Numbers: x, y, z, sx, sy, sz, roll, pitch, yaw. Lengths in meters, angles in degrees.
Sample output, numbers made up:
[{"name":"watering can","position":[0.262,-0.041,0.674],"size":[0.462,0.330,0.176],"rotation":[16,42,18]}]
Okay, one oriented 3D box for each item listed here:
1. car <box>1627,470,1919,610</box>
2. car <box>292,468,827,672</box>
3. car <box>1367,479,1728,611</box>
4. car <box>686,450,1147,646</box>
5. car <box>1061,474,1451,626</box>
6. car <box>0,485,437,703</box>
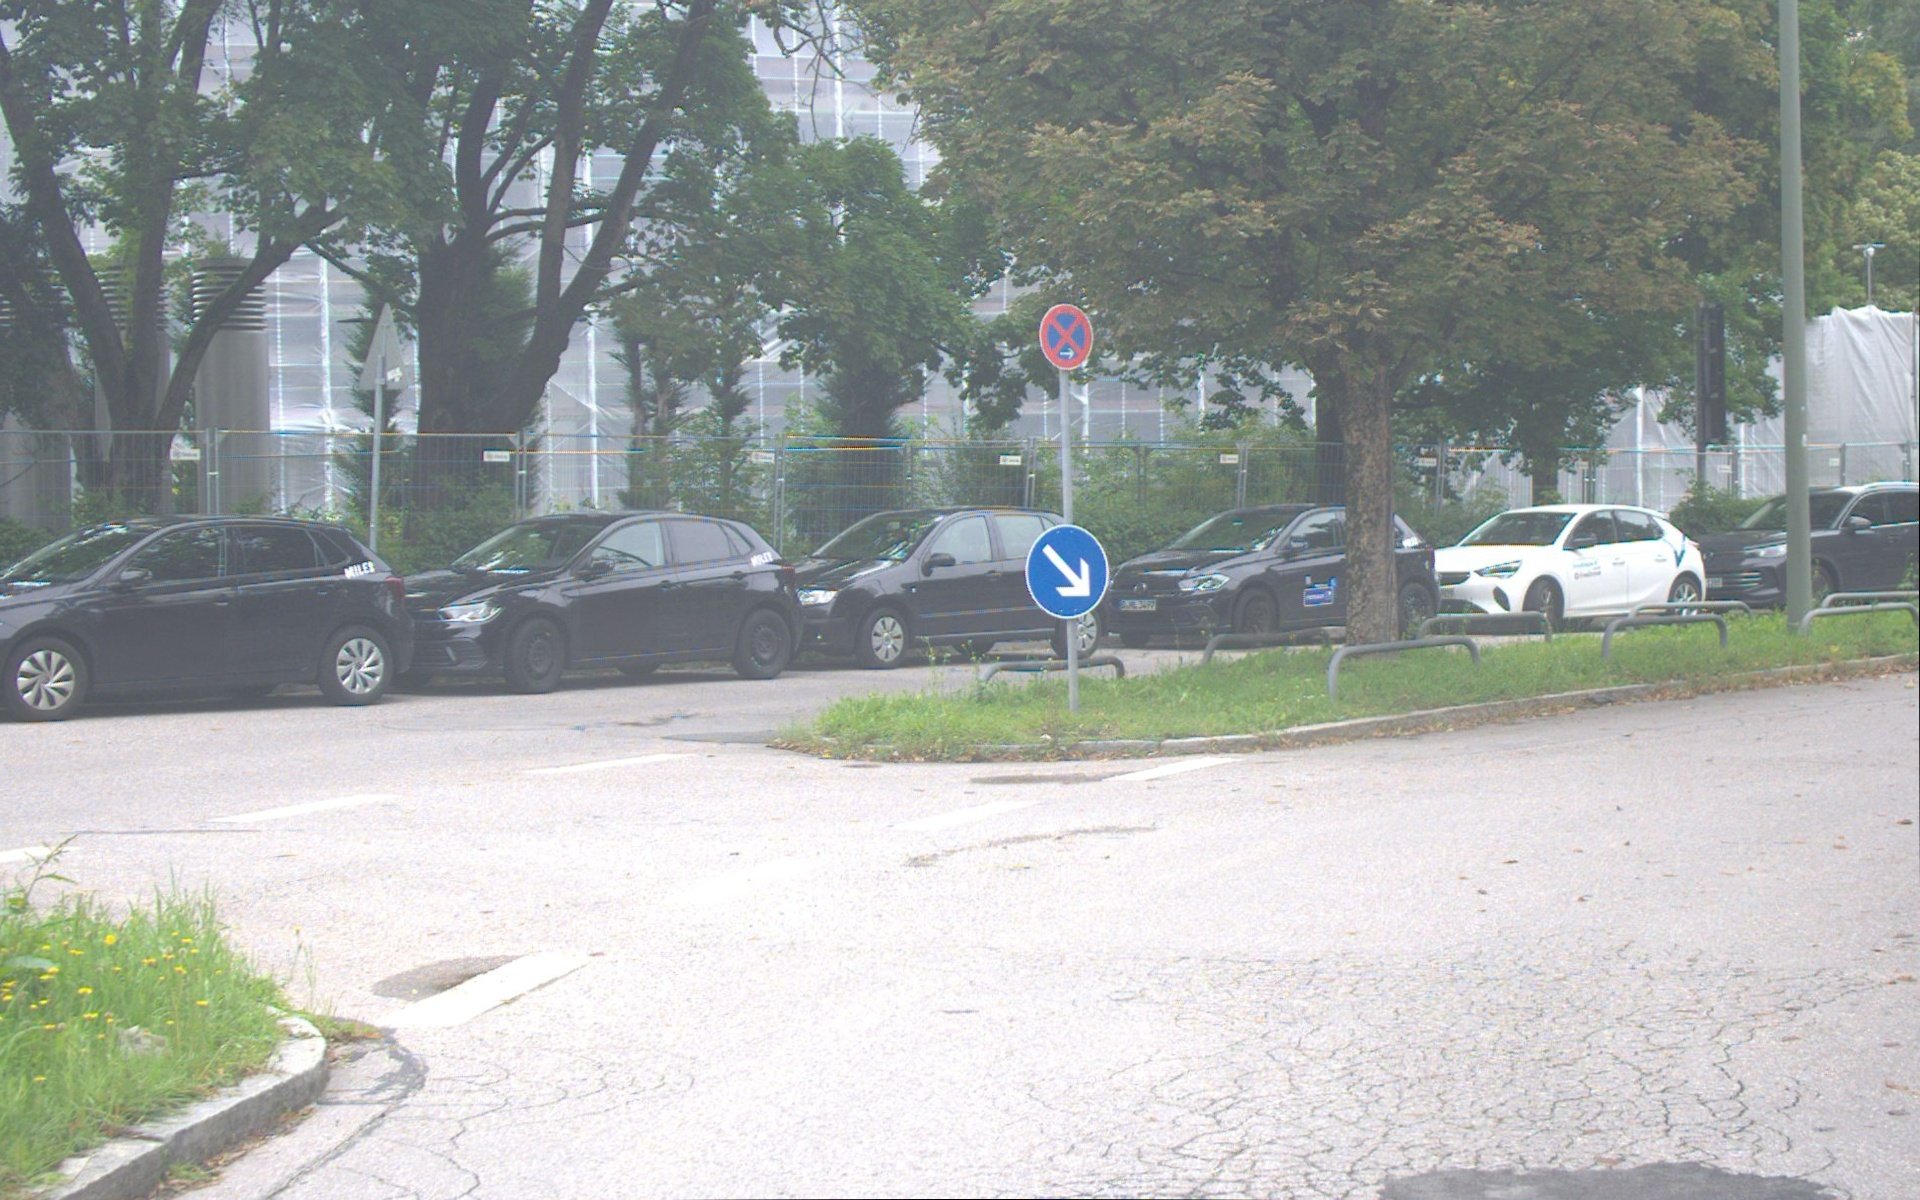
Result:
[{"name":"car","position":[10.268,-0.697,41.296],"size":[4.382,1.600,1.892],"rotation":[0,0,-34]},{"name":"car","position":[-3.246,-0.289,28.356],"size":[1.999,1.535,3.990],"rotation":[0,2,45]},{"name":"car","position":[6.653,-0.634,38.669],"size":[4.207,1.379,1.801],"rotation":[-2,2,-43]},{"name":"car","position":[-0.354,-0.509,31.854],"size":[1.999,1.700,3.990],"rotation":[0,2,45]},{"name":"car","position":[3.084,-0.537,35.305],"size":[1.839,1.456,3.996],"rotation":[0,2,45]},{"name":"car","position":[-6.100,-0.102,25.365],"size":[4.032,1.427,1.999],"rotation":[-3,4,-45]}]
